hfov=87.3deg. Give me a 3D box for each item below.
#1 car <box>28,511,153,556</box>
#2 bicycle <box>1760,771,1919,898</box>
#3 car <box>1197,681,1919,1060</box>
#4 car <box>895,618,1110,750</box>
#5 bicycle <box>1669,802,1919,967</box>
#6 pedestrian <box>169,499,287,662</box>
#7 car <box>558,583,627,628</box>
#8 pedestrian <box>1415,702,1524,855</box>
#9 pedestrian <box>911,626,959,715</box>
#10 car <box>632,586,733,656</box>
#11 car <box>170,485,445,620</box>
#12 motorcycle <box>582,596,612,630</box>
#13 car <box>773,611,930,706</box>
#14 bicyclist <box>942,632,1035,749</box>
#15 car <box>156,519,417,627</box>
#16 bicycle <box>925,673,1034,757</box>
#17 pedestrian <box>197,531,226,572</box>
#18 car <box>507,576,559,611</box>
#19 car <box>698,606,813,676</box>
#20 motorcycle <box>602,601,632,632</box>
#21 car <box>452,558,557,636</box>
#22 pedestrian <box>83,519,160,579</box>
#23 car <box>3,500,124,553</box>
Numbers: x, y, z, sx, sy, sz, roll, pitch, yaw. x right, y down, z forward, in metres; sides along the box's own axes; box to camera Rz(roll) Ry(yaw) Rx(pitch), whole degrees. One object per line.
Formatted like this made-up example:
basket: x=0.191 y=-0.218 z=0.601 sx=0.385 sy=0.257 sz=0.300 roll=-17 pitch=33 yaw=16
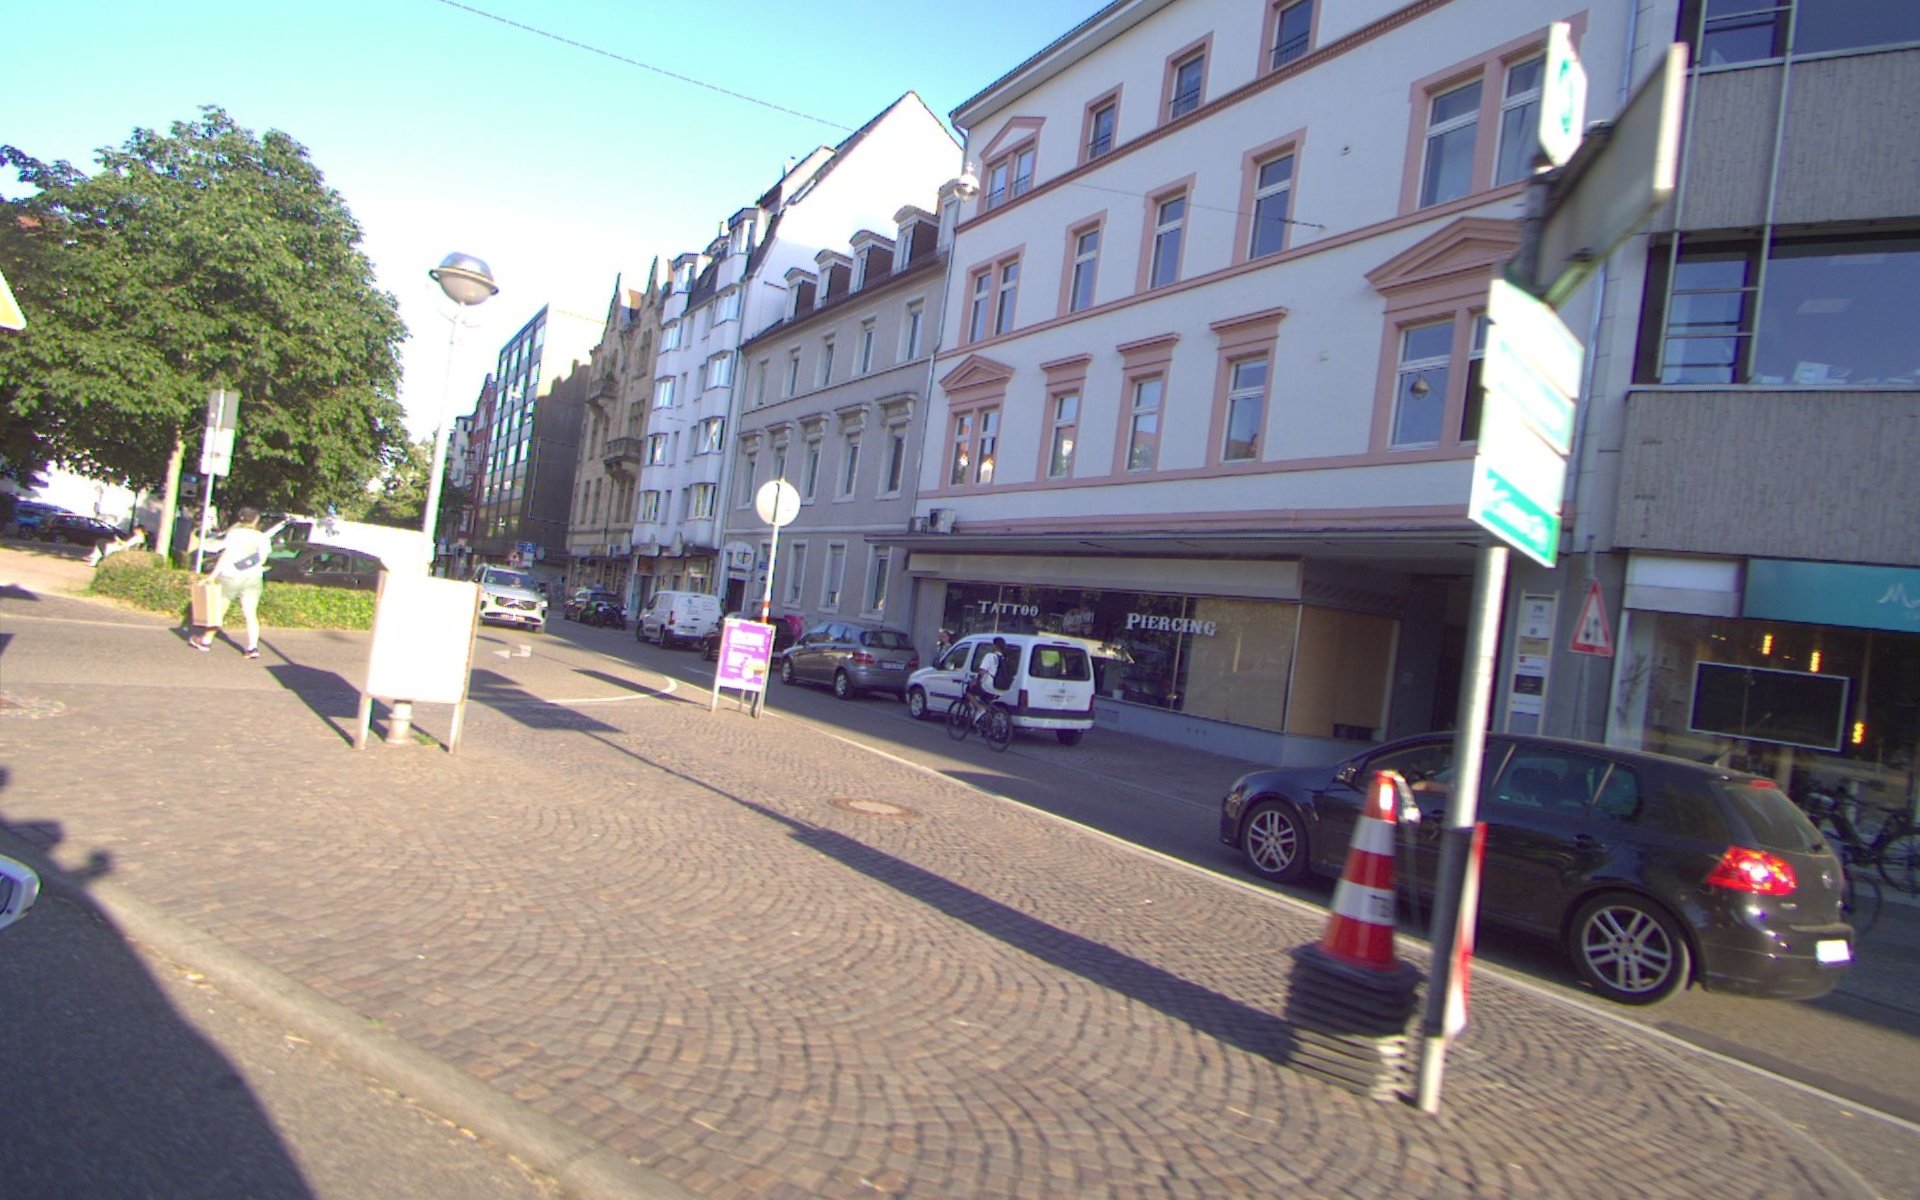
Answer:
car: x=-40.332 y=-3.083 z=46.749 sx=1.823 sy=1.315 sz=3.995 roll=7 pitch=-3 yaw=33
bicycle: x=9.844 y=2.572 z=11.057 sx=1.494 sy=1.133 sz=0.515 roll=5 pitch=1 yaw=12
car: x=3.934 y=1.646 z=7.332 sx=1.738 sy=1.477 sz=4.067 roll=9 pitch=-2 yaw=-33
car: x=0.637 y=1.420 z=17.935 sx=1.724 sy=1.821 sz=3.882 roll=7 pitch=-1 yaw=-34
bicycle: x=7.030 y=2.353 z=8.360 sx=1.819 sy=1.059 sz=0.580 roll=6 pitch=1 yaw=-4
pedestrian: x=-8.554 y=-0.226 z=11.751 sx=0.857 sy=1.725 sz=0.931 roll=10 pitch=-2 yaw=-40
car: x=-15.909 y=0.214 z=43.453 sx=1.741 sy=1.529 sz=3.938 roll=7 pitch=-1 yaw=-35
pedestrian: x=5.776 y=2.014 z=11.420 sx=0.626 sy=1.573 sz=0.732 roll=8 pitch=-1 yaw=-32
pedestrian: x=-0.506 y=1.425 z=20.358 sx=0.547 sy=1.705 sz=0.569 roll=8 pitch=-1 yaw=-33
car: x=-9.099 y=0.633 z=32.760 sx=1.912 sy=1.863 sz=3.984 roll=7 pitch=-1 yaw=-33
car: x=-17.016 y=-1.128 z=26.635 sx=2.118 sy=2.623 sz=5.526 roll=7 pitch=-2 yaw=30
motorcycle: x=-14.528 y=0.514 z=40.209 sx=0.484 sy=1.189 sz=1.589 roll=5 pitch=1 yaw=-41
car: x=-2.490 y=1.243 z=22.341 sx=1.724 sy=1.636 sz=3.882 roll=7 pitch=-1 yaw=-34
bicyclist: x=0.435 y=1.389 z=15.606 sx=0.773 sy=1.636 sz=1.015 roll=10 pitch=-2 yaw=-35
car: x=-13.728 y=-0.477 z=20.801 sx=1.844 sy=1.569 sz=4.003 roll=7 pitch=-2 yaw=23
bicycle: x=0.266 y=1.763 z=15.668 sx=0.576 sy=0.998 sz=1.918 roll=10 pitch=-3 yaw=-34
pedestrian: x=-40.774 y=-2.632 z=54.795 sx=0.960 sy=2.037 sz=1.018 roll=9 pitch=-2 yaw=-34
car: x=-23.122 y=-0.371 z=54.415 sx=1.742 sy=1.529 sz=3.512 roll=7 pitch=-1 yaw=-35
car: x=-5.655 y=1.084 z=27.542 sx=1.724 sy=1.480 sz=3.553 roll=7 pitch=-1 yaw=-34
motorcycle: x=-13.722 y=0.648 z=40.261 sx=0.484 sy=1.056 sz=1.814 roll=5 pitch=1 yaw=-38
car: x=-13.320 y=-0.140 z=29.283 sx=1.982 sy=1.792 sz=3.964 roll=9 pitch=-2 yaw=-34
pedestrian: x=-20.585 y=-1.236 z=24.718 sx=0.845 sy=1.240 sz=1.100 roll=7 pitch=-2 yaw=30
car: x=-44.288 y=-3.604 z=49.785 sx=1.823 sy=1.802 sz=3.995 roll=7 pitch=-3 yaw=33
